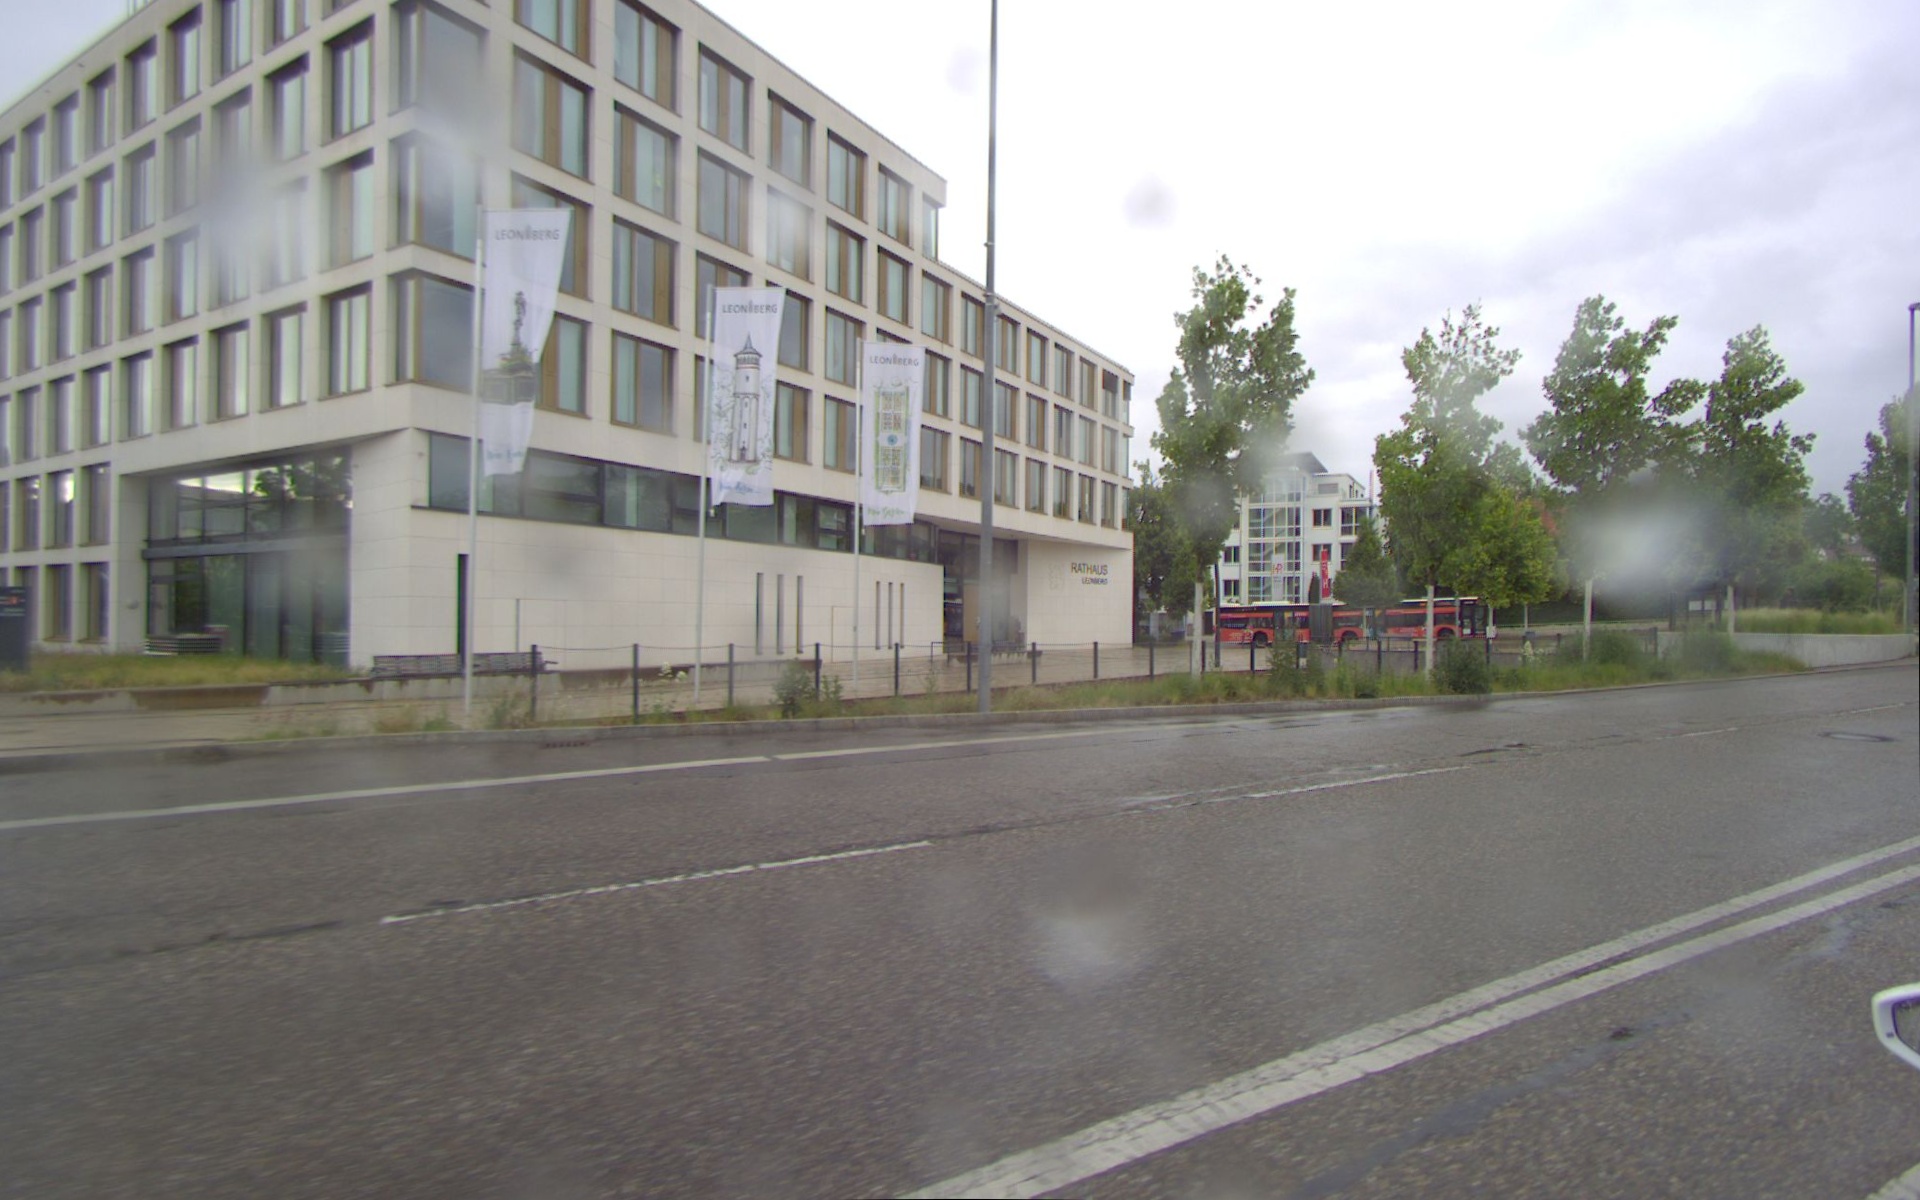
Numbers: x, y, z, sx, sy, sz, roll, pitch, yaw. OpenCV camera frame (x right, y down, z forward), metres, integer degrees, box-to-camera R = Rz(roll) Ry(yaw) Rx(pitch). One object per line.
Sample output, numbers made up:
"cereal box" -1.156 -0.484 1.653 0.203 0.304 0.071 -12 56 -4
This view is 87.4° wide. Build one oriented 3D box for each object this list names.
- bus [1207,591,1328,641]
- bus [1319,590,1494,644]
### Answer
"bus" 21.593 1.101 70.615 7.702 3.324 2.738 0 -3 31
"bus" 29.192 1.103 65.872 10.225 3.324 2.858 0 -3 30
